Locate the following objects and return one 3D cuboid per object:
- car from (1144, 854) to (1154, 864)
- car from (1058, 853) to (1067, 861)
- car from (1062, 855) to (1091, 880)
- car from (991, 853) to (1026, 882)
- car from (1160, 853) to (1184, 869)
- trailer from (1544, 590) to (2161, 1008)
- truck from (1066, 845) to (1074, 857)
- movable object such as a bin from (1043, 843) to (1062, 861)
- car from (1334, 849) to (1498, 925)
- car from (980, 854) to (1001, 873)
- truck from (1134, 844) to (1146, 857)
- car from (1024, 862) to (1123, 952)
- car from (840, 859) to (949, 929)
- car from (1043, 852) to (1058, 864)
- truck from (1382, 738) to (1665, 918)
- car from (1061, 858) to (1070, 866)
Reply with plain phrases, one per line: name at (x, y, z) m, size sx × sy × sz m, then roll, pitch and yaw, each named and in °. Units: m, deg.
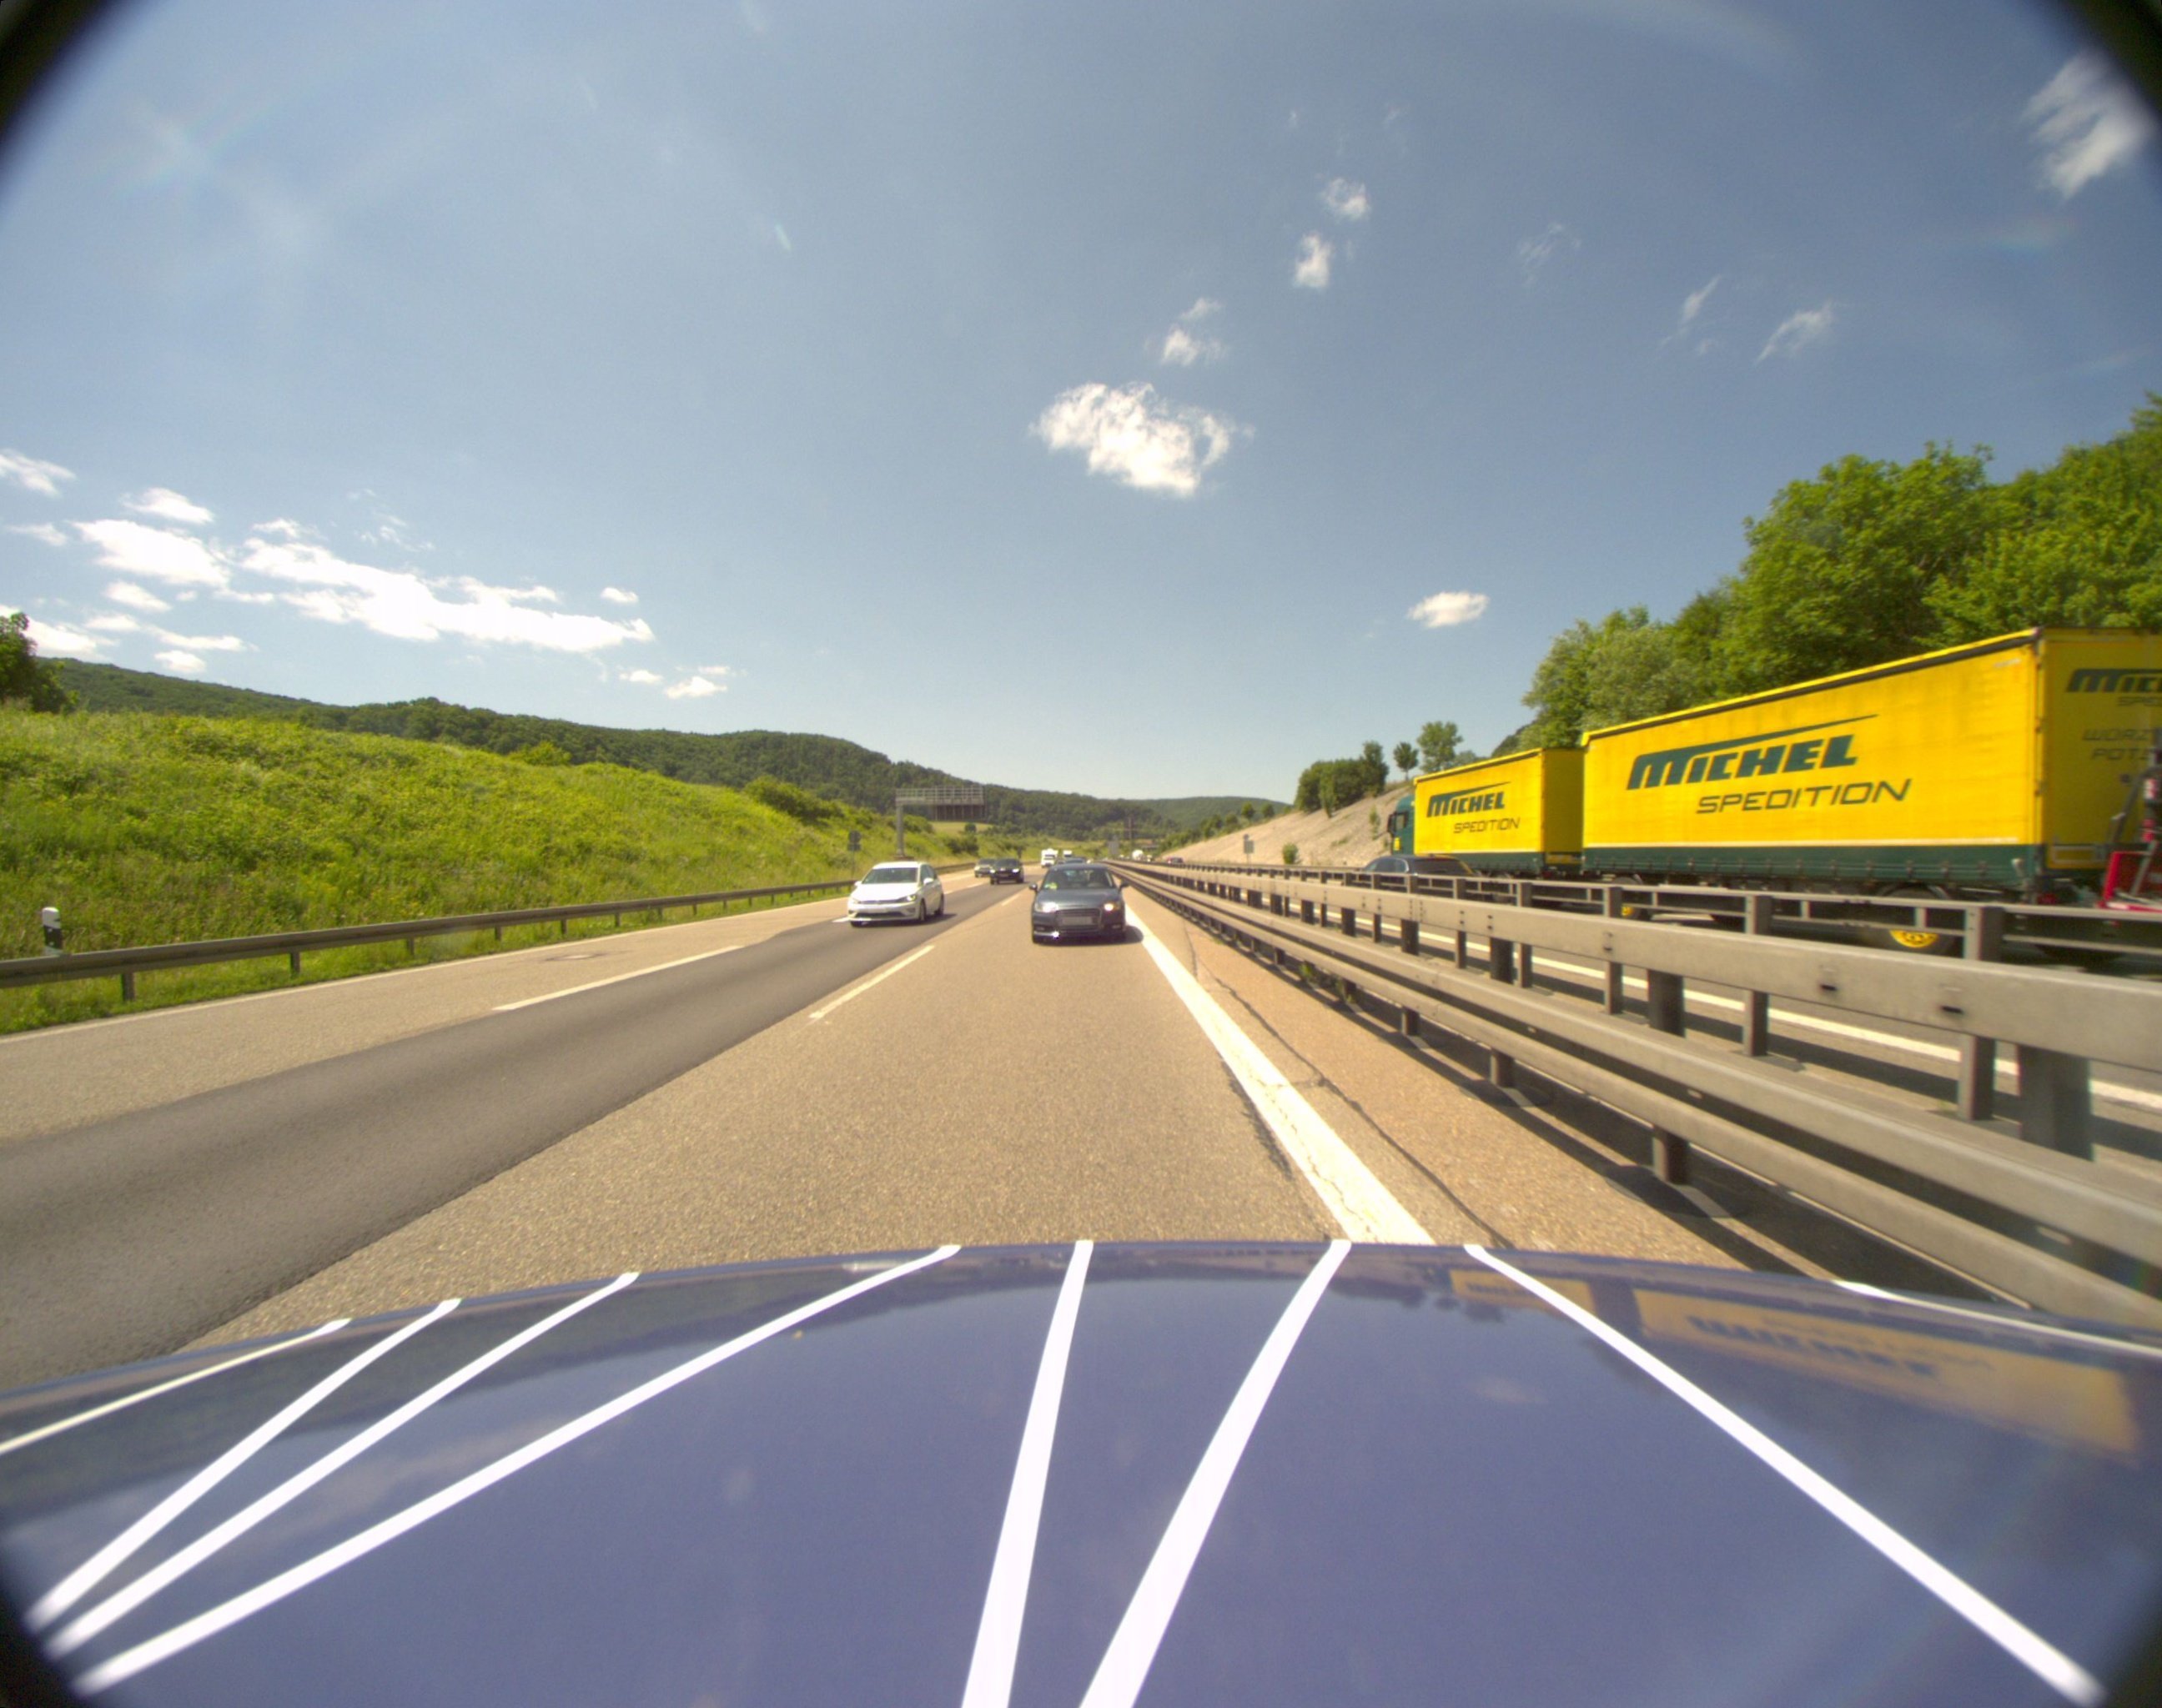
car at (14.358, 1.003, 159.889) m, size 1.998 × 2.002 × 4.001 m, roll -1°, pitch 0°, yaw 4°
car at (-3.800, 0.647, 159.234) m, size 1.711 × 1.542 × 4.000 m, roll -1°, pitch 0°, yaw 1°
car at (-0.261, 0.888, 50.704) m, size 1.835 × 1.586 × 4.000 m, roll -1°, pitch 0°, yaw 1°
car at (-4.557, 0.811, 48.146) m, size 1.894 × 1.761 × 4.170 m, roll -1°, pitch 0°, yaw -1°
car at (8.304, 0.634, 69.838) m, size 1.672 × 1.426 × 3.999 m, roll -2°, pitch 0°, yaw 0°
trailer at (12.145, -0.591, 12.434) m, size 2.834 × 4.123 × 10.404 m, roll -2°, pitch 0°, yaw 1°
truck at (-3.353, -0.908, 238.547) m, size 2.336 × 3.623 × 7.005 m, roll -2°, pitch 0°, yaw 1°
movable object such as a bin at (-4.349, -0.291, 115.581) m, size 2.481 × 2.616 × 6.708 m, roll -2°, pitch 0°, yaw 1°
car at (7.945, 0.712, 18.590) m, size 1.850 × 1.586 × 4.751 m, roll -1°, pitch 0°, yaw -1°
car at (-7.957, 0.817, 66.796) m, size 1.684 × 1.585 × 4.246 m, roll -2°, pitch 0°, yaw -6°
truck at (15.418, -0.929, 200.178) m, size 2.618 × 3.035 × 10.990 m, roll -2°, pitch 0°, yaw 2°
car at (-0.011, 0.923, 14.737) m, size 1.591 × 1.401 × 4.001 m, roll -2°, pitch 0°, yaw 4°
car at (-4.731, 0.952, 19.854) m, size 1.777 × 1.532 × 4.054 m, roll -2°, pitch 0°, yaw 0°
car at (-4.315, 0.539, 108.507) m, size 1.821 × 1.574 × 4.000 m, roll -1°, pitch 0°, yaw 1°
truck at (12.269, -0.629, 22.608) m, size 2.834 × 4.123 × 9.614 m, roll -2°, pitch 0°, yaw 1°
car at (-3.751, 1.934, 183.651) m, size 1.998 × 2.002 × 4.000 m, roll -1°, pitch 1°, yaw 2°
